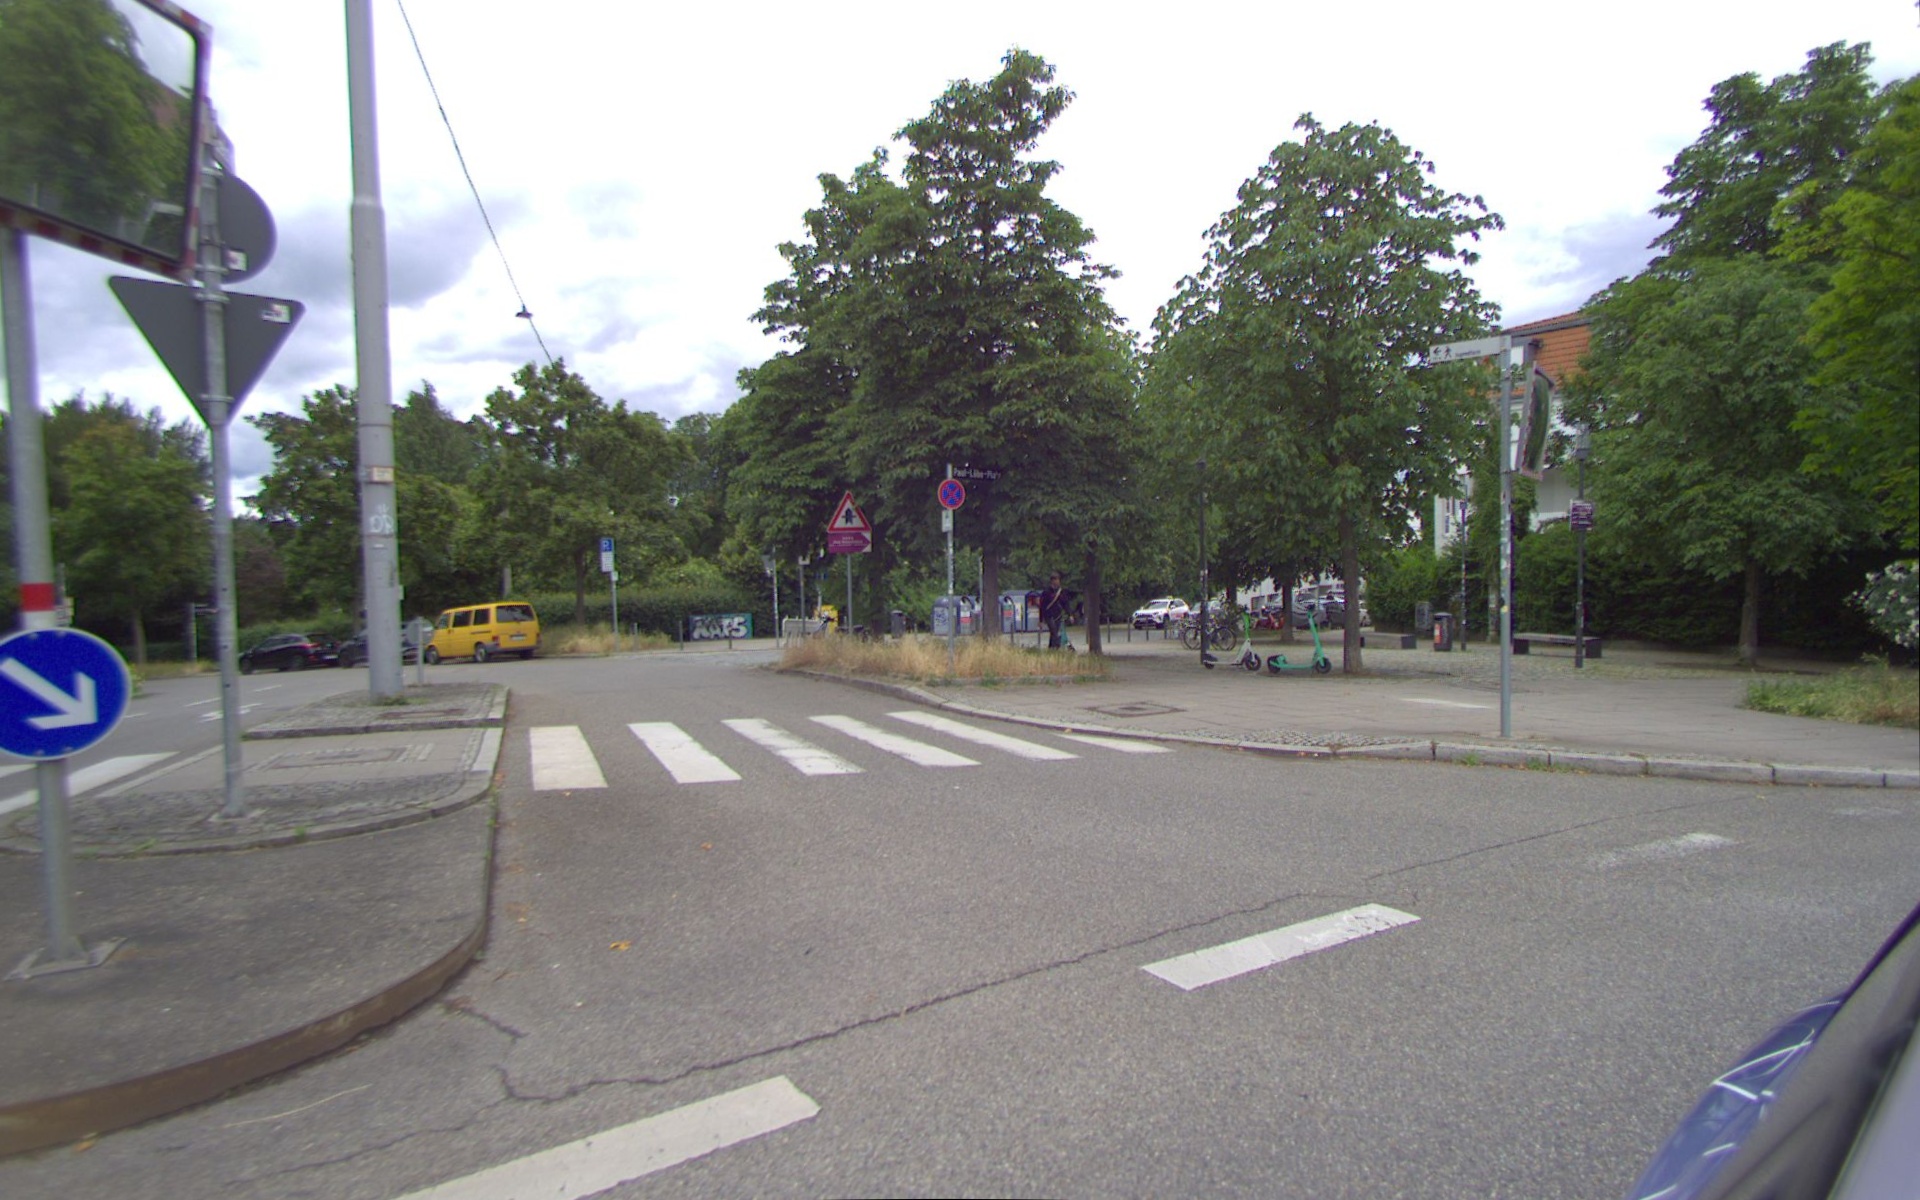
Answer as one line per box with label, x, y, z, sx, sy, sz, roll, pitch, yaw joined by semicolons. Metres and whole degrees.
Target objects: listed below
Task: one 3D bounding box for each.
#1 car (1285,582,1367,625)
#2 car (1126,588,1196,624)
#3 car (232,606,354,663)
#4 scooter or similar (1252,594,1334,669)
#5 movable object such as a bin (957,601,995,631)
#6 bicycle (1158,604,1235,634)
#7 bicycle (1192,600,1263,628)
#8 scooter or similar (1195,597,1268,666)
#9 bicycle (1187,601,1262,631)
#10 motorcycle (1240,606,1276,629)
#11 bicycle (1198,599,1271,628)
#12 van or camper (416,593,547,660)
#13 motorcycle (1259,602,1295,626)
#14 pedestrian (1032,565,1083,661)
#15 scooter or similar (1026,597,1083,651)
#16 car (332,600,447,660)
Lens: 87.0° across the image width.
car;18.388;0.146;50.852;3.747;2.039;1.983;1;0;25
car;11.208;0.301;56.107;1.989;1.928;4.651;1;0;37
car;-26.091;1.310;39.616;3.949;2.039;1.988;1;0;19
scooter or similar;5.723;0.521;17.426;1.244;1.242;0.493;-1;-1;45
movable object such as a bin;0.652;0.648;41.473;1.287;1.180;1.064;1;0;-17
bicycle;9.603;0.753;41.182;2.893;1.160;0.925;1;0;-10
bicycle;11.847;0.606;44.798;2.893;1.160;0.925;1;0;-10
scooter or similar;5.094;0.575;19.004;1.244;1.242;0.493;-1;-1;45
bicycle;11.090;0.664;42.410;2.893;1.160;0.925;1;0;-10
motorcycle;14.194;0.840;48.107;2.022;1.046;0.753;0;1;-45
bicycle;11.860;0.582;43.775;2.893;1.160;0.925;1;0;-10
van or camper;-16.134;0.917;34.077;4.437;2.002;1.868;-3;0;33
motorcycle;14.810;0.648;47.222;2.022;1.046;0.753;0;1;-45
pedestrian;1.976;0.258;20.579;0.840;1.910;0.966;0;0;-6
scooter or similar;2.259;0.577;24.267;1.294;1.264;0.464;0;0;-2
car;-21.006;1.047;37.230;3.967;2.039;1.978;1;1;31
